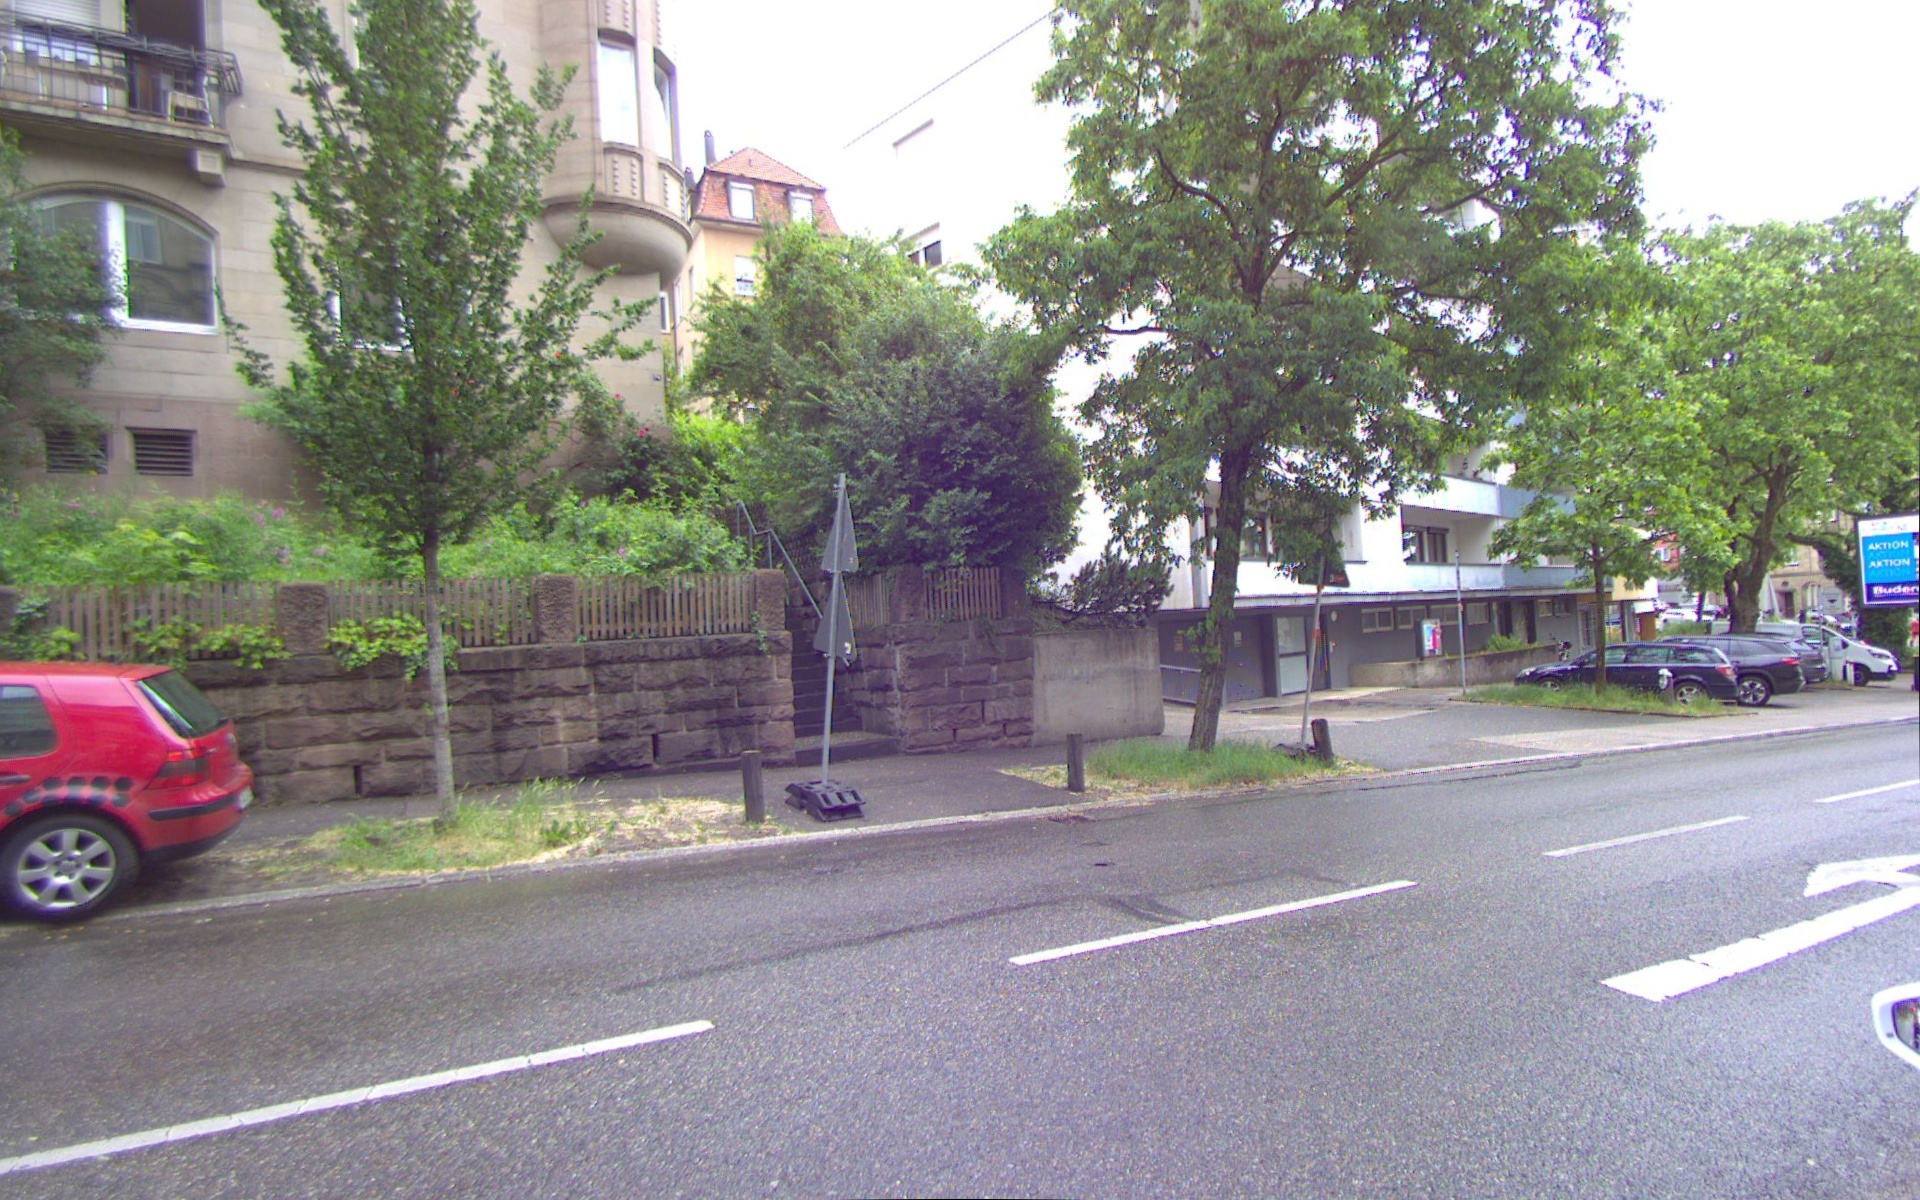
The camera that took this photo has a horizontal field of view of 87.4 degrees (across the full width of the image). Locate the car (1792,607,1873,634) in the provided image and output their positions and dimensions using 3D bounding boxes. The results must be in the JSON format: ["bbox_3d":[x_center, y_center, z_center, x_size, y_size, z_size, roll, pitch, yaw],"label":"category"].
[{"bbox_3d":[60.468,1.388,69.722,1.960,1.749,4.250,-1,0,1],"label":"car"}]

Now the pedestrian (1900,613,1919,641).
[{"bbox_3d":[56.824,1.624,60.070,0.707,1.597,0.537,-1,-4,-14],"label":"pedestrian"}]

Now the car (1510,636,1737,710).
[{"bbox_3d":[15.637,1.698,23.789,4.303,1.594,1.935,-3,-4,38],"label":"car"}]

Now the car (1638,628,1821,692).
[{"bbox_3d":[23.349,1.786,30.610,4.305,1.807,1.931,-2,-3,40],"label":"car"}]

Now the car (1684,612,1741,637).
[{"bbox_3d":[69.035,2.247,92.206,1.961,2.130,4.291,-1,1,-1],"label":"car"}]

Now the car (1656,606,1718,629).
[{"bbox_3d":[60.357,1.449,83.453,1.961,1.749,4.249,-2,-1,-1],"label":"car"}]

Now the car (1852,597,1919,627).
[{"bbox_3d":[69.240,0.882,74.730,1.961,2.130,4.291,-1,1,-1],"label":"car"}]

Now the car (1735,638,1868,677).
[{"bbox_3d":[32.929,2.216,39.421,3.925,1.469,1.761,-2,-3,40],"label":"car"}]

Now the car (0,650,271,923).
[{"bbox_3d":[-6.524,1.058,5.817,4.015,1.470,1.606,1,-2,-30],"label":"car"}]

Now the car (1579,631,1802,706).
[{"bbox_3d":[18.072,1.692,25.015,4.312,1.694,1.848,-3,-4,38],"label":"car"}]

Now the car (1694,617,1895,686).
[{"bbox_3d":[27.661,1.674,33.505,5.000,2.132,1.983,-2,-3,40],"label":"car"}]

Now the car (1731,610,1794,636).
[{"bbox_3d":[69.266,1.967,86.747,1.961,2.130,4.291,-1,1,-1],"label":"car"}]
